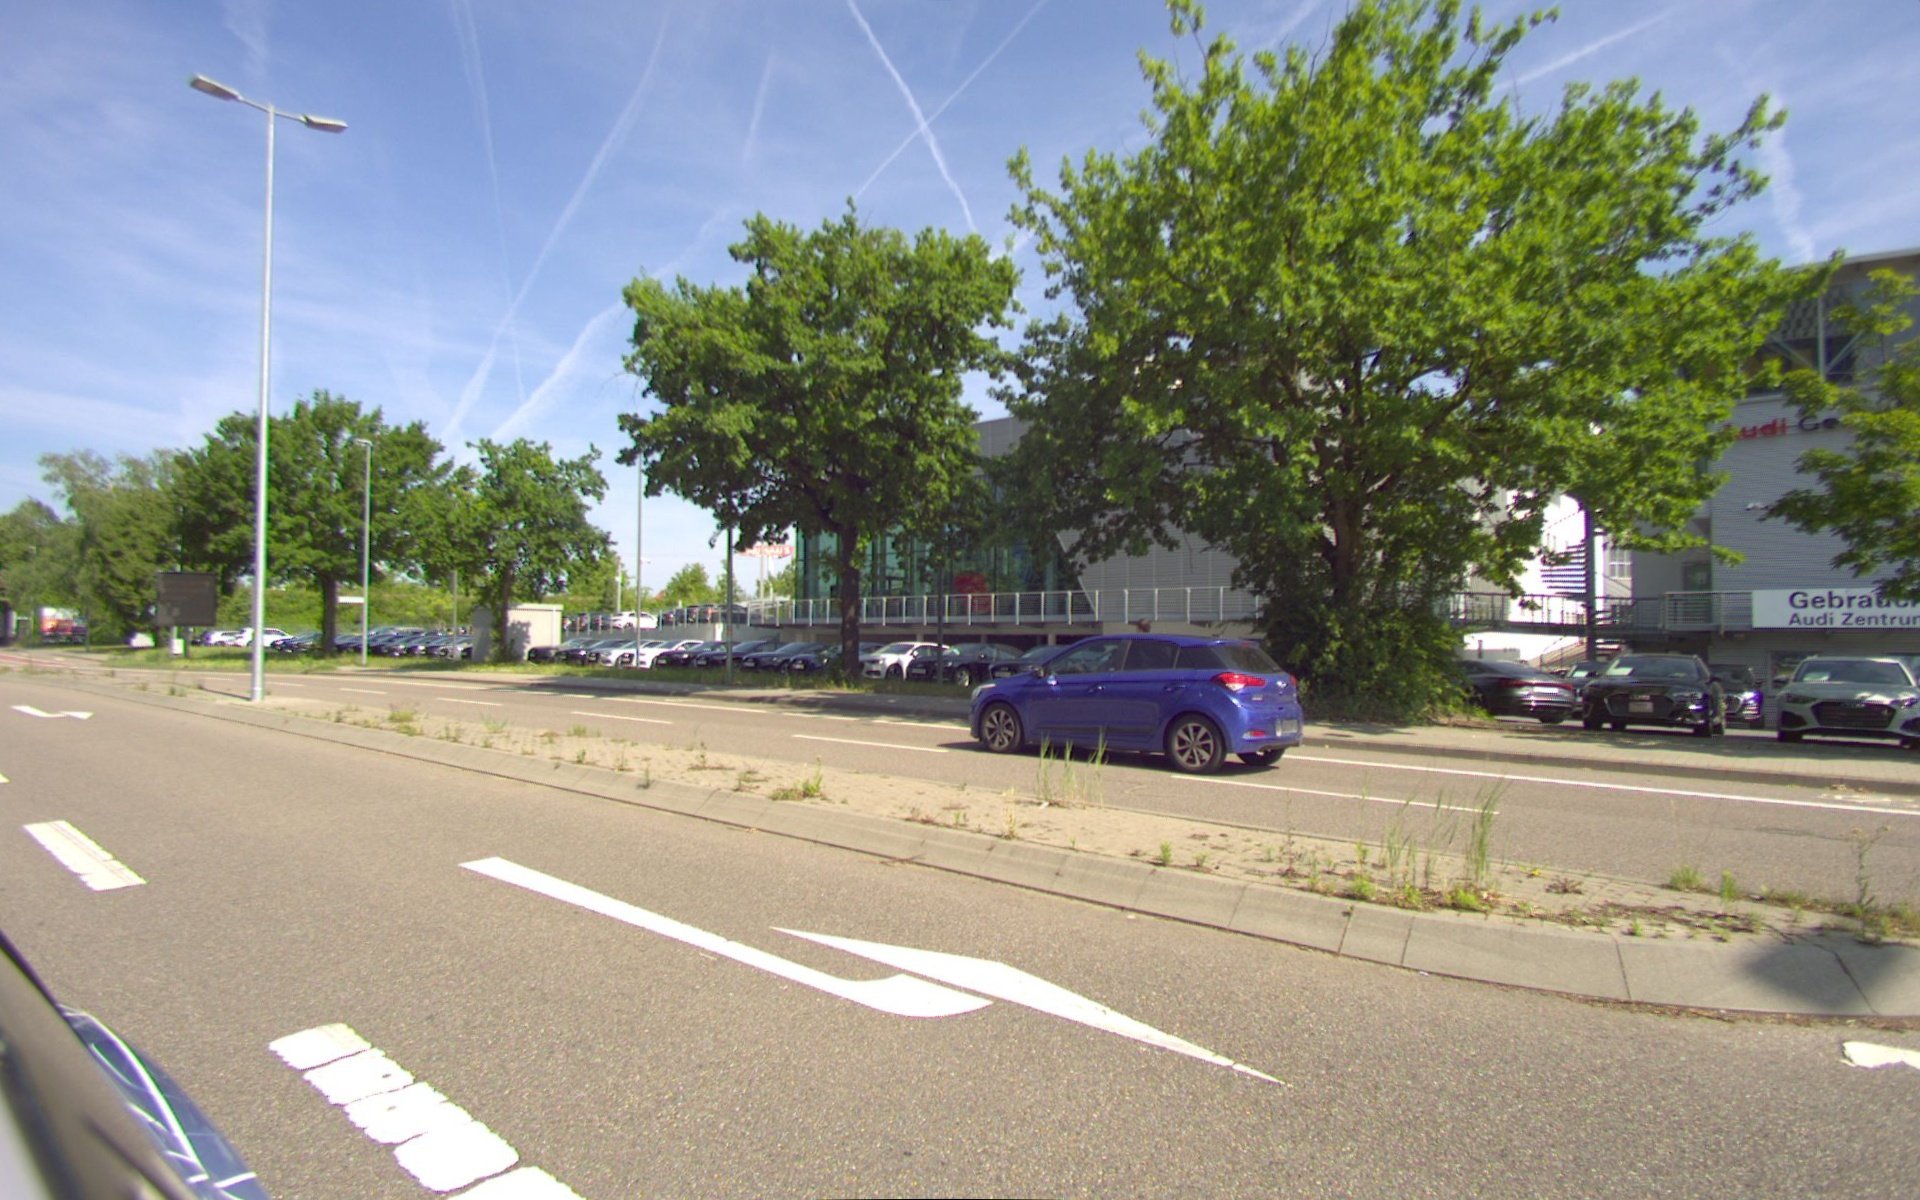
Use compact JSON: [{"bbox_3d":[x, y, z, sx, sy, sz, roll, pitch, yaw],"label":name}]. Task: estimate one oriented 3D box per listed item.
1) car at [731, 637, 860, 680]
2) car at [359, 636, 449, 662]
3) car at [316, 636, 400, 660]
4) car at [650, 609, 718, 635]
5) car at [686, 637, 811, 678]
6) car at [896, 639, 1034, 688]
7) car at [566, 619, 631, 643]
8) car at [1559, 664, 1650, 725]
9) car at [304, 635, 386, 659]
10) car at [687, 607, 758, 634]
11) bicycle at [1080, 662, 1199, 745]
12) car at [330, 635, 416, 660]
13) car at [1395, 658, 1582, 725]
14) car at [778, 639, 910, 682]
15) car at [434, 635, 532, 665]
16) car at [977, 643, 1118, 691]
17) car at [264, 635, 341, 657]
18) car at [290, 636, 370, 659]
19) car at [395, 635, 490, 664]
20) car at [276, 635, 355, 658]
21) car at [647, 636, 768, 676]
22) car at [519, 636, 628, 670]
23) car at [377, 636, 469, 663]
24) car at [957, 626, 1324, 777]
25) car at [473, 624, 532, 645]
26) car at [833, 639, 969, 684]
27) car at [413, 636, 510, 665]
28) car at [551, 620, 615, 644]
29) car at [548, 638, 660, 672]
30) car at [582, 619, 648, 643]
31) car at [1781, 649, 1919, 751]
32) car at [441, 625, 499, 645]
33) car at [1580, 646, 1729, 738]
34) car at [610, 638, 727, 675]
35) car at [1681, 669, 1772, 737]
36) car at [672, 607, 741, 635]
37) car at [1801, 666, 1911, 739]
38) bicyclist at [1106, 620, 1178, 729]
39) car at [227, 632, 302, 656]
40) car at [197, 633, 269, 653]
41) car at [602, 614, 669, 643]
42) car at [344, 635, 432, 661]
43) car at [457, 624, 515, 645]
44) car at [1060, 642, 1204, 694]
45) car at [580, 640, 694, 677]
[{"bbox_3d":[-5.510,1.994,34.304,1.689,1.264,4.142,-2,-6,42],"label":"car"},{"bbox_3d":[-31.804,2.820,57.933,1.689,1.333,4.142,-2,-6,42],"label":"car"},{"bbox_3d":[-37.719,3.012,63.445,1.689,1.333,4.142,-2,-6,42],"label":"car"},{"bbox_3d":[-18.537,1.512,68.032,1.689,1.511,4.142,-2,-6,42],"label":"car"},{"bbox_3d":[-7.491,2.082,36.133,1.689,1.269,4.142,-2,-6,42],"label":"car"},{"bbox_3d":[0.206,1.867,29.492,1.689,1.256,4.142,-2,-6,42],"label":"car"},{"bbox_3d":[-26.525,2.318,74.309,1.689,1.511,4.142,-2,-6,42],"label":"car"},{"bbox_3d":[17.561,2.496,27.512,1.688,1.448,3.780,-2,-3,38],"label":"car"},{"bbox_3d":[-39.651,3.057,65.317,1.689,1.333,4.142,-2,-6,42],"label":"car"},{"bbox_3d":[-14.980,1.318,63.950,1.689,1.416,4.142,-2,-6,42],"label":"car"},{"bbox_3d":[2.710,1.546,15.412,1.770,1.159,0.565,-2,-5,44],"label":"bicycle"},{"bbox_3d":[-35.797,2.932,61.794,1.689,1.333,4.142,-2,-6,42],"label":"car"},{"bbox_3d":[11.710,1.981,22.737,1.662,1.343,3.848,1,-3,-11],"label":"car"},{"bbox_3d":[-3.668,1.958,32.575,1.689,1.215,4.142,-2,-6,42],"label":"car"},{"bbox_3d":[-24.092,2.562,51.218,1.689,1.333,4.142,-2,-6,42],"label":"car"},{"bbox_3d":[2.482,1.860,27.756,1.719,1.131,4.142,-2,-6,42],"label":"car"},{"bbox_3d":[-45.649,3.197,70.353,1.689,1.333,4.142,-2,-6,42],"label":"car"},{"bbox_3d":[-41.621,3.144,66.927,1.689,1.333,4.142,-2,-6,42],"label":"car"},{"bbox_3d":[-27.718,2.684,54.297,1.689,1.333,4.142,-2,-6,42],"label":"car"},{"bbox_3d":[-43.562,3.171,68.501,1.689,1.333,4.142,-2,-6,41],"label":"car"},{"bbox_3d":[-9.397,2.135,37.958,1.689,1.309,4.142,-2,-6,42],"label":"car"},{"bbox_3d":[-17.006,2.364,44.684,1.689,1.333,4.142,-2,-6,42],"label":"car"},{"bbox_3d":[-29.816,2.777,56.293,1.689,1.333,4.142,-2,-6,42],"label":"car"},{"bbox_3d":[1.979,1.083,11.710,3.868,1.449,1.710,-2,-5,41],"label":"car"},{"bbox_3d":[-38.267,2.919,84.708,1.689,1.511,4.142,-2,-6,42],"label":"car"},{"bbox_3d":[-1.742,1.911,31.053,1.689,1.204,4.142,-2,-6,42],"label":"car"},{"bbox_3d":[-26.006,2.640,52.894,1.689,1.333,4.142,-2,-6,42],"label":"car"},{"bbox_3d":[-28.199,2.415,75.870,1.689,1.511,4.142,-2,-6,42],"label":"car"},{"bbox_3d":[-15.112,2.348,43.102,1.689,1.256,4.142,-2,-6,42],"label":"car"},{"bbox_3d":[-24.757,2.248,72.789,1.689,1.511,4.142,-2,-6,42],"label":"car"},{"bbox_3d":[14.222,1.573,16.030,1.801,1.405,4.172,-2,-6,40],"label":"car"},{"bbox_3d":[-42.903,3.101,88.660,1.689,1.511,4.142,-2,-6,42],"label":"car"},{"bbox_3d":[12.280,1.619,17.801,1.807,1.413,3.984,-2,-6,39],"label":"car"},{"bbox_3d":[-11.391,2.243,39.757,1.689,1.265,4.142,-2,-6,42],"label":"car"},{"bbox_3d":[19.497,2.553,25.683,1.688,1.484,3.779,-2,-3,39],"label":"car"},{"bbox_3d":[-16.538,1.414,66.169,1.689,1.511,4.142,-2,-6,42],"label":"car"},{"bbox_3d":[21.292,2.374,24.144,1.803,1.484,3.778,-2,-3,40],"label":"car"},{"bbox_3d":[2.759,1.121,15.386,0.910,1.609,0.570,-2,-5,44],"label":"bicyclist"},{"bbox_3d":[-50.310,3.190,73.263,1.689,1.511,4.142,-2,-6,42],"label":"car"},{"bbox_3d":[-56.228,3.344,78.313,1.689,1.389,4.142,-2,-6,42],"label":"car"},{"bbox_3d":[-22.752,2.037,71.054,1.689,1.745,4.142,-2,-6,42],"label":"car"},{"bbox_3d":[-33.659,2.863,59.656,1.689,1.333,4.142,-2,-6,42],"label":"car"},{"bbox_3d":[-40.342,2.979,86.190,1.689,1.511,4.142,-2,-6,42],"label":"car"},{"bbox_3d":[4.471,1.760,25.845,1.695,1.143,4.142,-2,-6,42],"label":"car"},{"bbox_3d":[-13.157,2.396,41.386,1.689,1.335,4.142,-2,-6,42],"label":"car"}]
